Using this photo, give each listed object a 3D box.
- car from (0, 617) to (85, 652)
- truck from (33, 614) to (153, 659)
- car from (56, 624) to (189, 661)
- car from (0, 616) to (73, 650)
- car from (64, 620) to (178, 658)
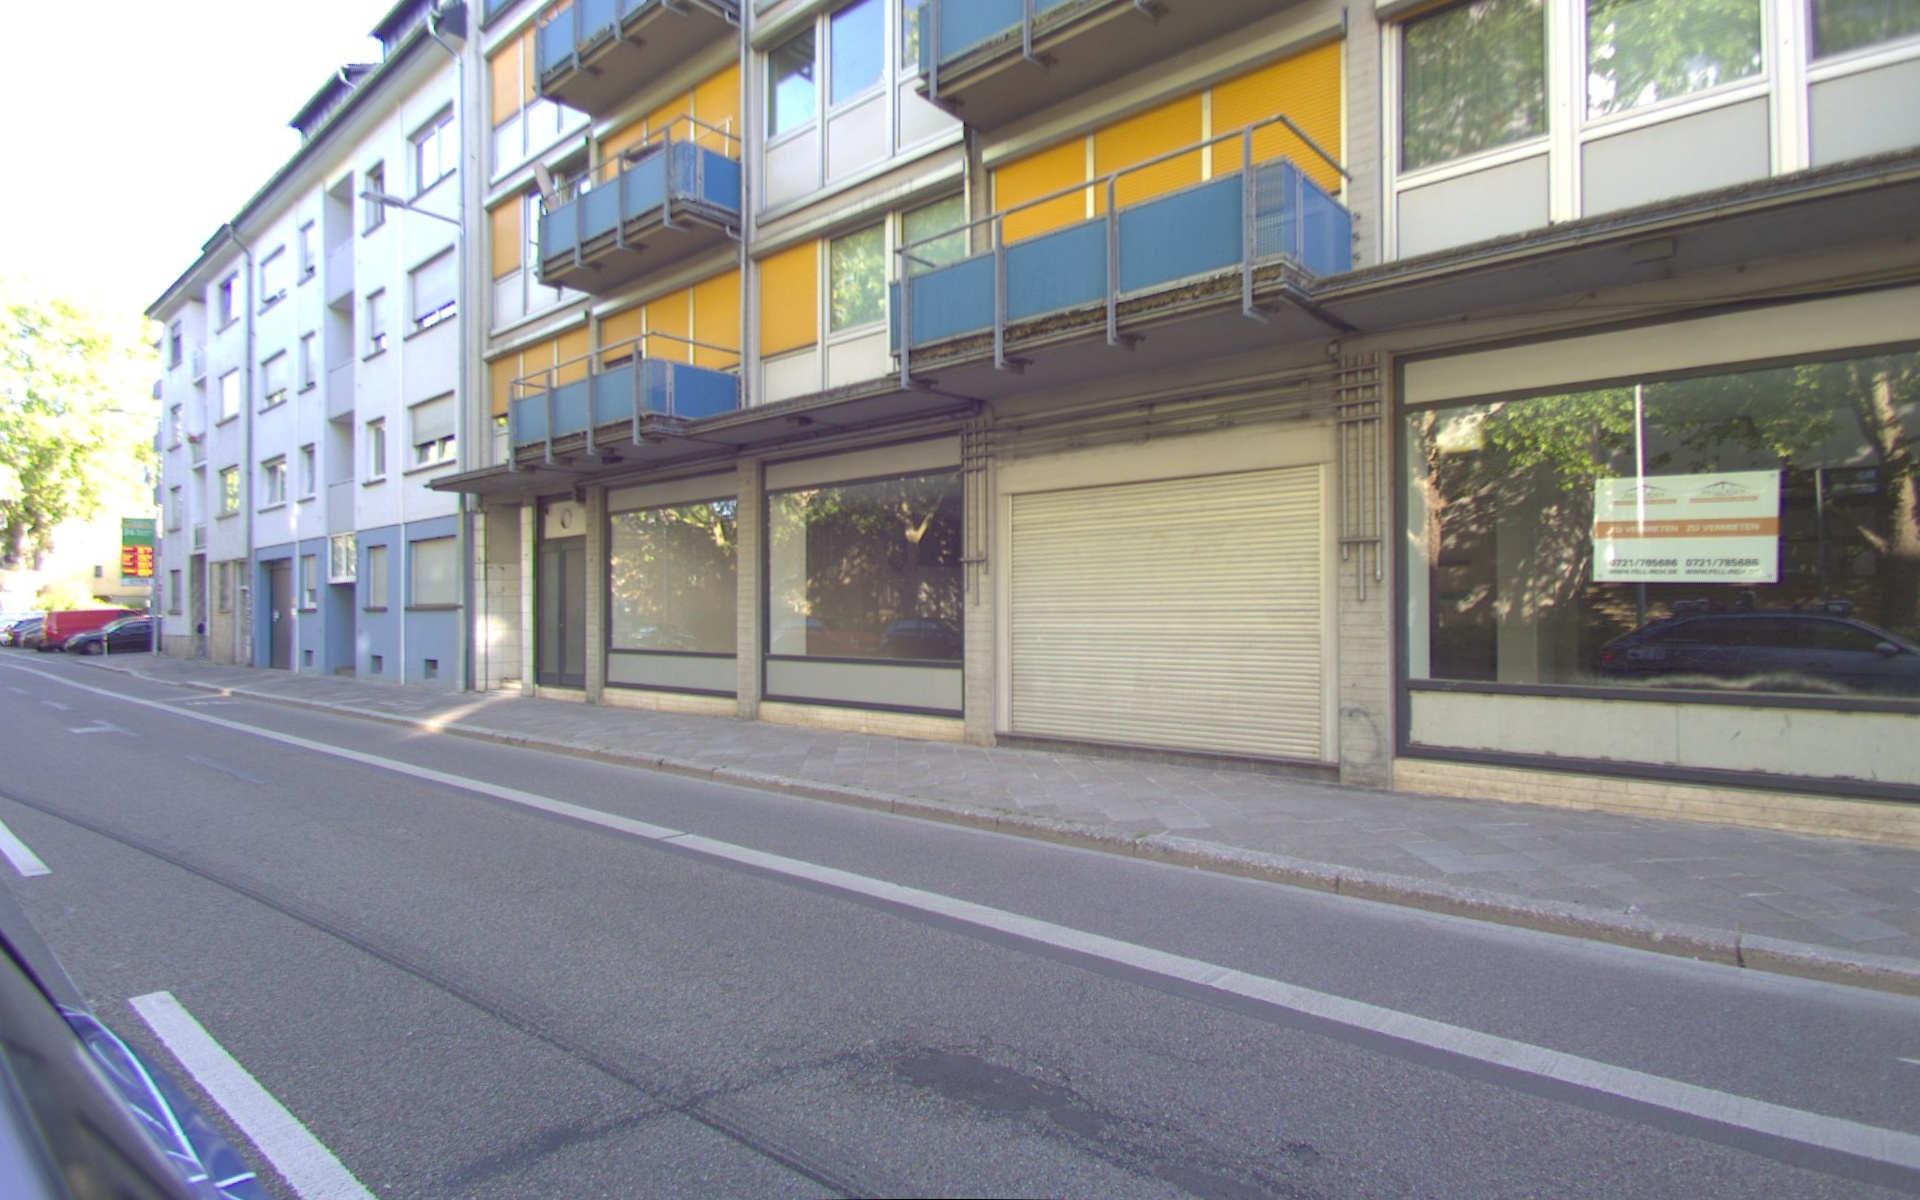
[{"bbox_3d":[-56.047,2.072,61.468,2.000,1.971,4.180,-1,0,43],"label":"car"},{"bbox_3d":[-40.712,1.654,47.573,1.999,1.939,4.040,-1,0,40],"label":"truck"},{"bbox_3d":[-36.482,1.800,44.155,1.657,1.417,4.269,-1,0,40],"label":"car"},{"bbox_3d":[-59.330,2.101,64.398,2.000,2.052,4.180,-1,0,43],"label":"car"},{"bbox_3d":[-38.033,1.736,45.938,1.657,1.583,3.762,-1,0,41],"label":"car"}]
